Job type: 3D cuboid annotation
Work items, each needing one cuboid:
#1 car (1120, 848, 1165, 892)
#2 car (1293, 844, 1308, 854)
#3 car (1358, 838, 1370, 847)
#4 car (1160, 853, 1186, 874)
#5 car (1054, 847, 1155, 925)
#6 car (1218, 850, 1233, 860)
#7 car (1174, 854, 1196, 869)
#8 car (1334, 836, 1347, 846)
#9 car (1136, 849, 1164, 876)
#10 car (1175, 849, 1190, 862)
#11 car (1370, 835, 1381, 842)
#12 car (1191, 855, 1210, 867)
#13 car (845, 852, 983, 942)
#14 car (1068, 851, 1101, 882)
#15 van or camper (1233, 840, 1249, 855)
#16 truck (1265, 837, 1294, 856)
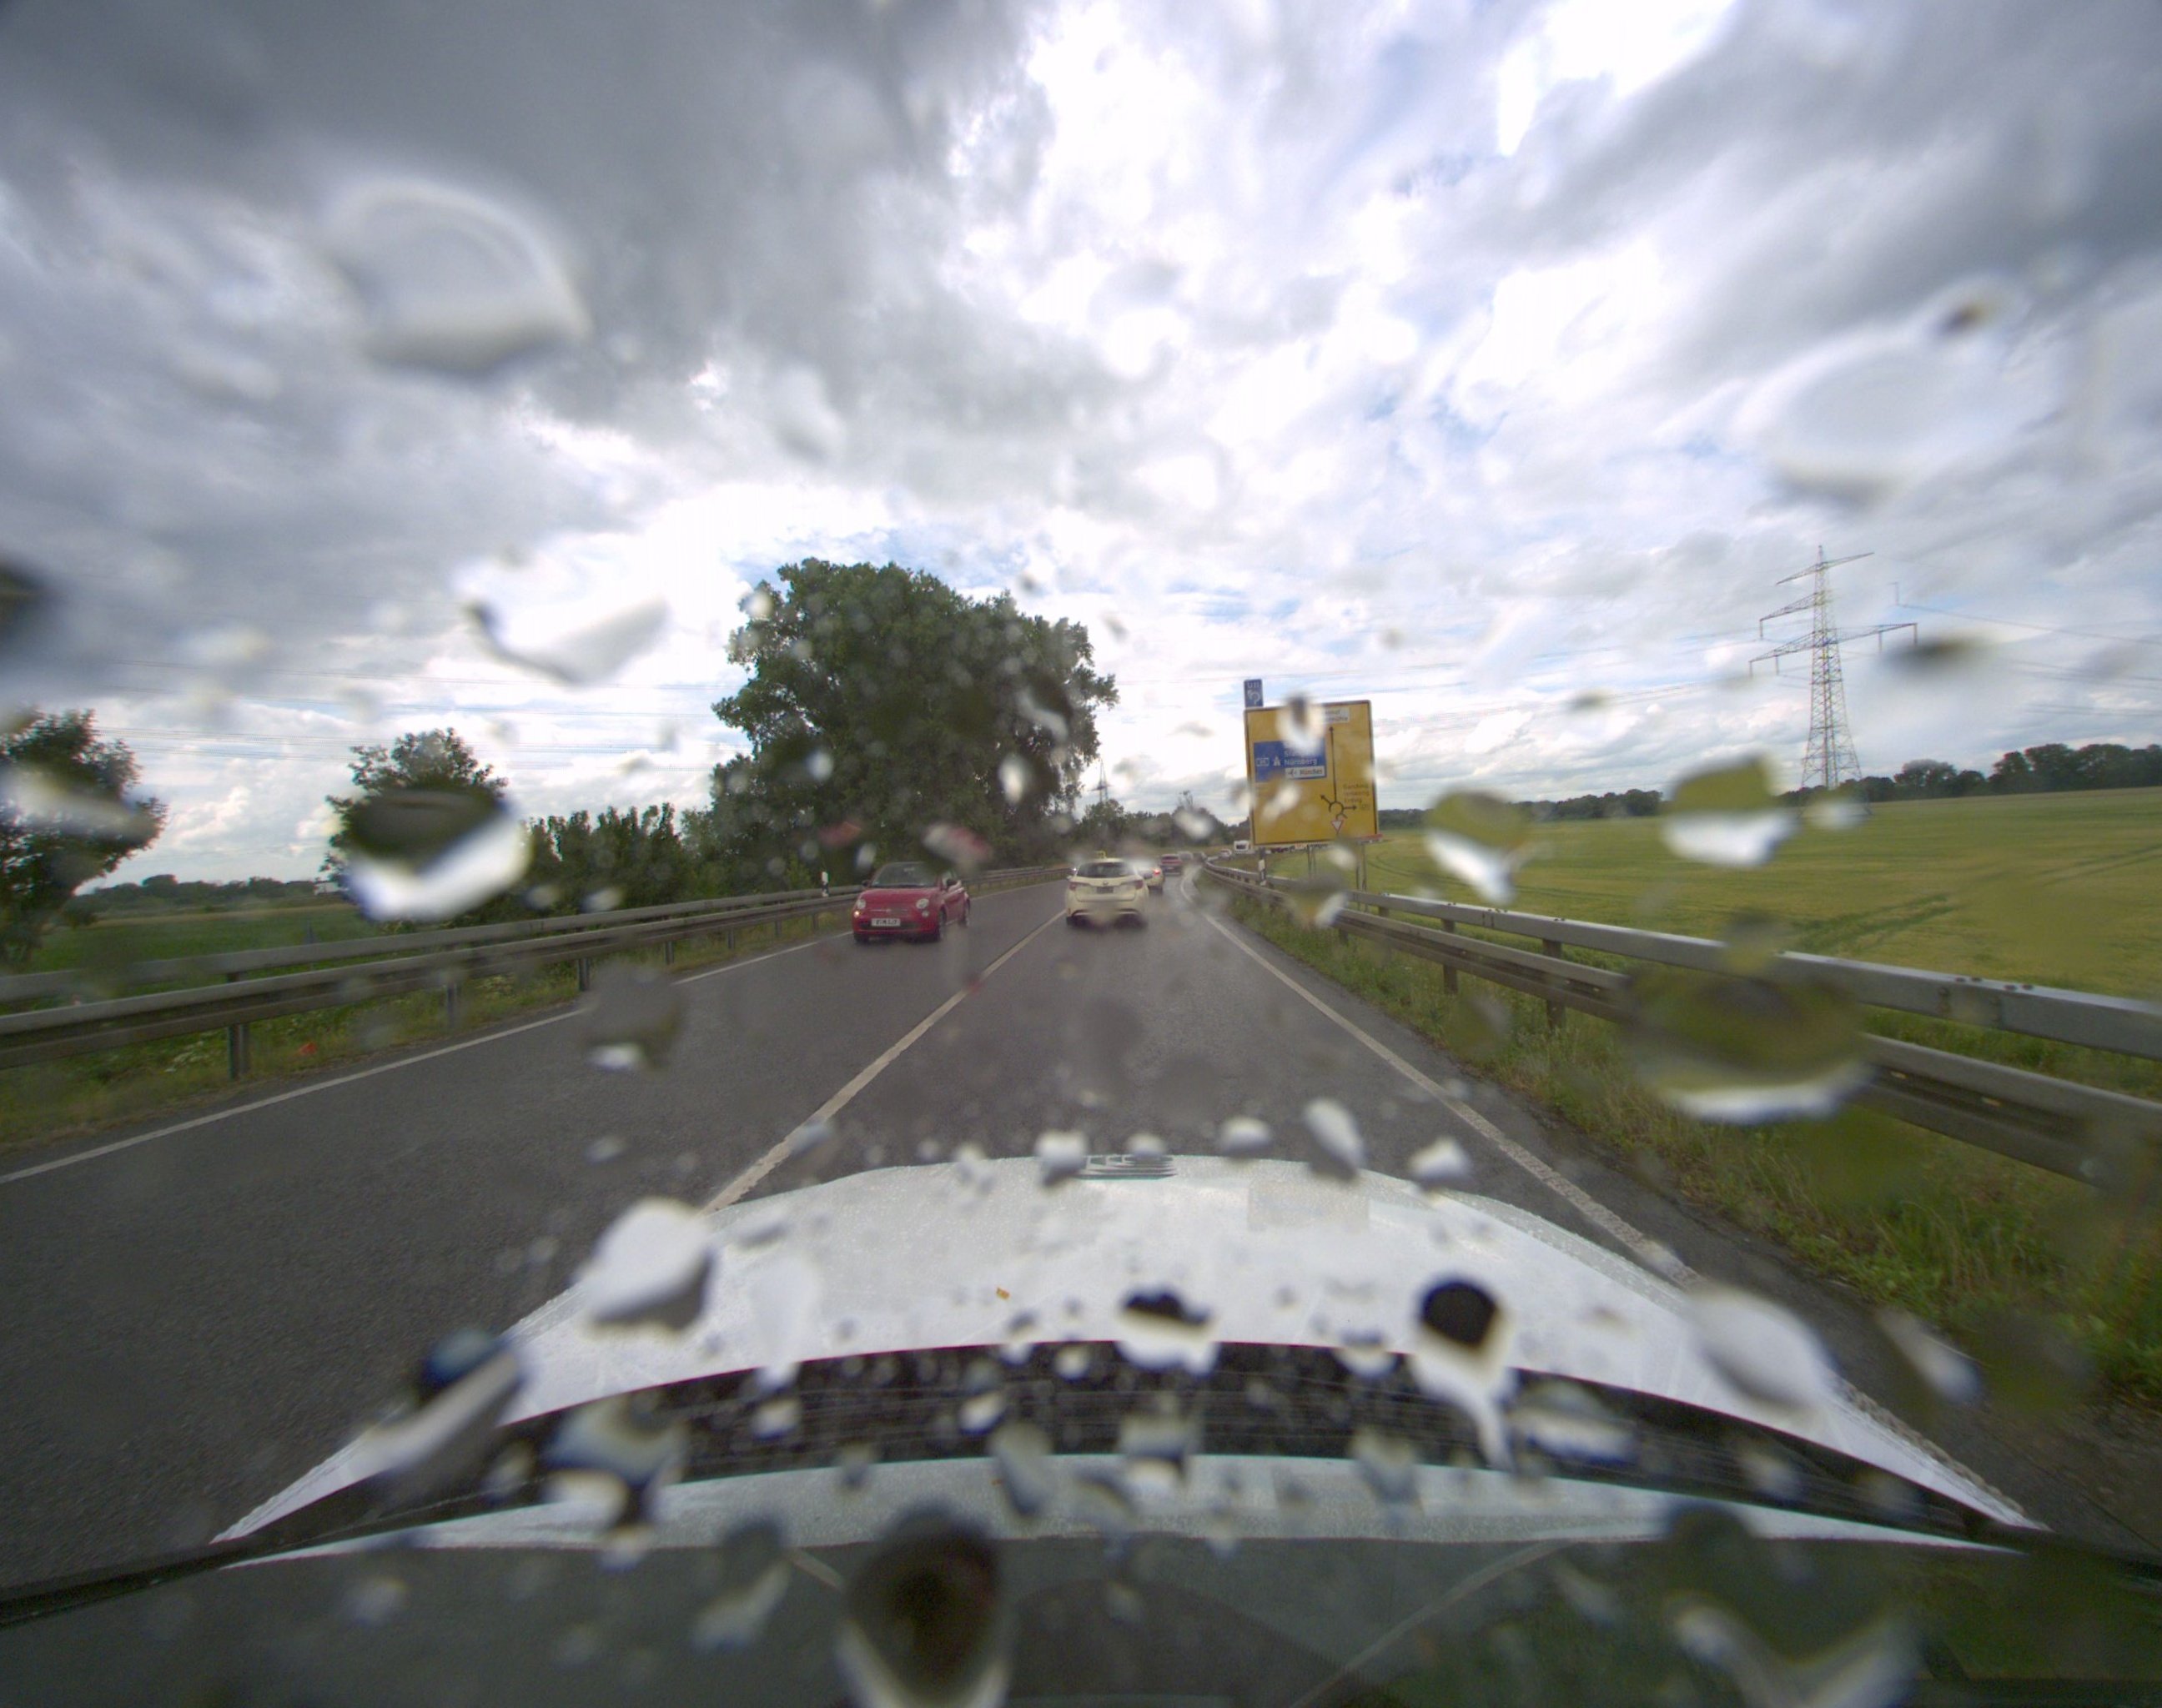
[{"bbox_3d":[2.409,0.607,31.388,1.570,1.572,3.687,-1,-1,6],"label":"car"},{"bbox_3d":[45.962,-1.065,170.180,2.146,2.014,4.024,-2,-1,27],"label":"car"},{"bbox_3d":[74.465,-3.004,214.192,1.974,2.014,4.025,-2,-1,35],"label":"car"},{"bbox_3d":[6.680,0.664,58.735,1.655,1.464,3.486,-1,-1,9],"label":"car"},{"bbox_3d":[0.653,0.660,18.471,1.896,1.537,4.169,-1,-1,6],"label":"car"},{"bbox_3d":[20.345,0.147,114.401,1.470,1.309,3.494,-2,-1,20],"label":"car"},{"bbox_3d":[10.489,0.750,81.770,1.648,1.409,3.919,-2,-1,15],"label":"car"},{"bbox_3d":[62.009,-3.098,194.629,2.205,2.014,4.023,-2,-1,26],"label":"car"},{"bbox_3d":[3.900,0.462,45.671,1.498,1.437,3.360,-1,-1,5],"label":"car"},{"bbox_3d":[14.666,0.222,117.320,1.505,1.721,3.436,-1,-1,17],"label":"car"},{"bbox_3d":[84.736,-4.454,234.365,1.745,2.013,4.025,-2,0,40],"label":"car"},{"bbox_3d":[14.024,0.849,95.689,1.470,1.309,3.494,-2,-1,20],"label":"car"},{"bbox_3d":[-3.164,0.750,16.235,1.602,1.486,4.005,-2,1,4],"label":"car"},{"bbox_3d":[0.264,0.731,47.047,1.513,1.673,3.812,-1,-1,6],"label":"car"},{"bbox_3d":[25.343,-1.079,128.704,1.977,2.254,4.018,-1,-1,18],"label":"van or camper"},{"bbox_3d":[37.750,-1.362,154.611,3.110,3.562,7.568,-2,-1,30],"label":"truck"}]
